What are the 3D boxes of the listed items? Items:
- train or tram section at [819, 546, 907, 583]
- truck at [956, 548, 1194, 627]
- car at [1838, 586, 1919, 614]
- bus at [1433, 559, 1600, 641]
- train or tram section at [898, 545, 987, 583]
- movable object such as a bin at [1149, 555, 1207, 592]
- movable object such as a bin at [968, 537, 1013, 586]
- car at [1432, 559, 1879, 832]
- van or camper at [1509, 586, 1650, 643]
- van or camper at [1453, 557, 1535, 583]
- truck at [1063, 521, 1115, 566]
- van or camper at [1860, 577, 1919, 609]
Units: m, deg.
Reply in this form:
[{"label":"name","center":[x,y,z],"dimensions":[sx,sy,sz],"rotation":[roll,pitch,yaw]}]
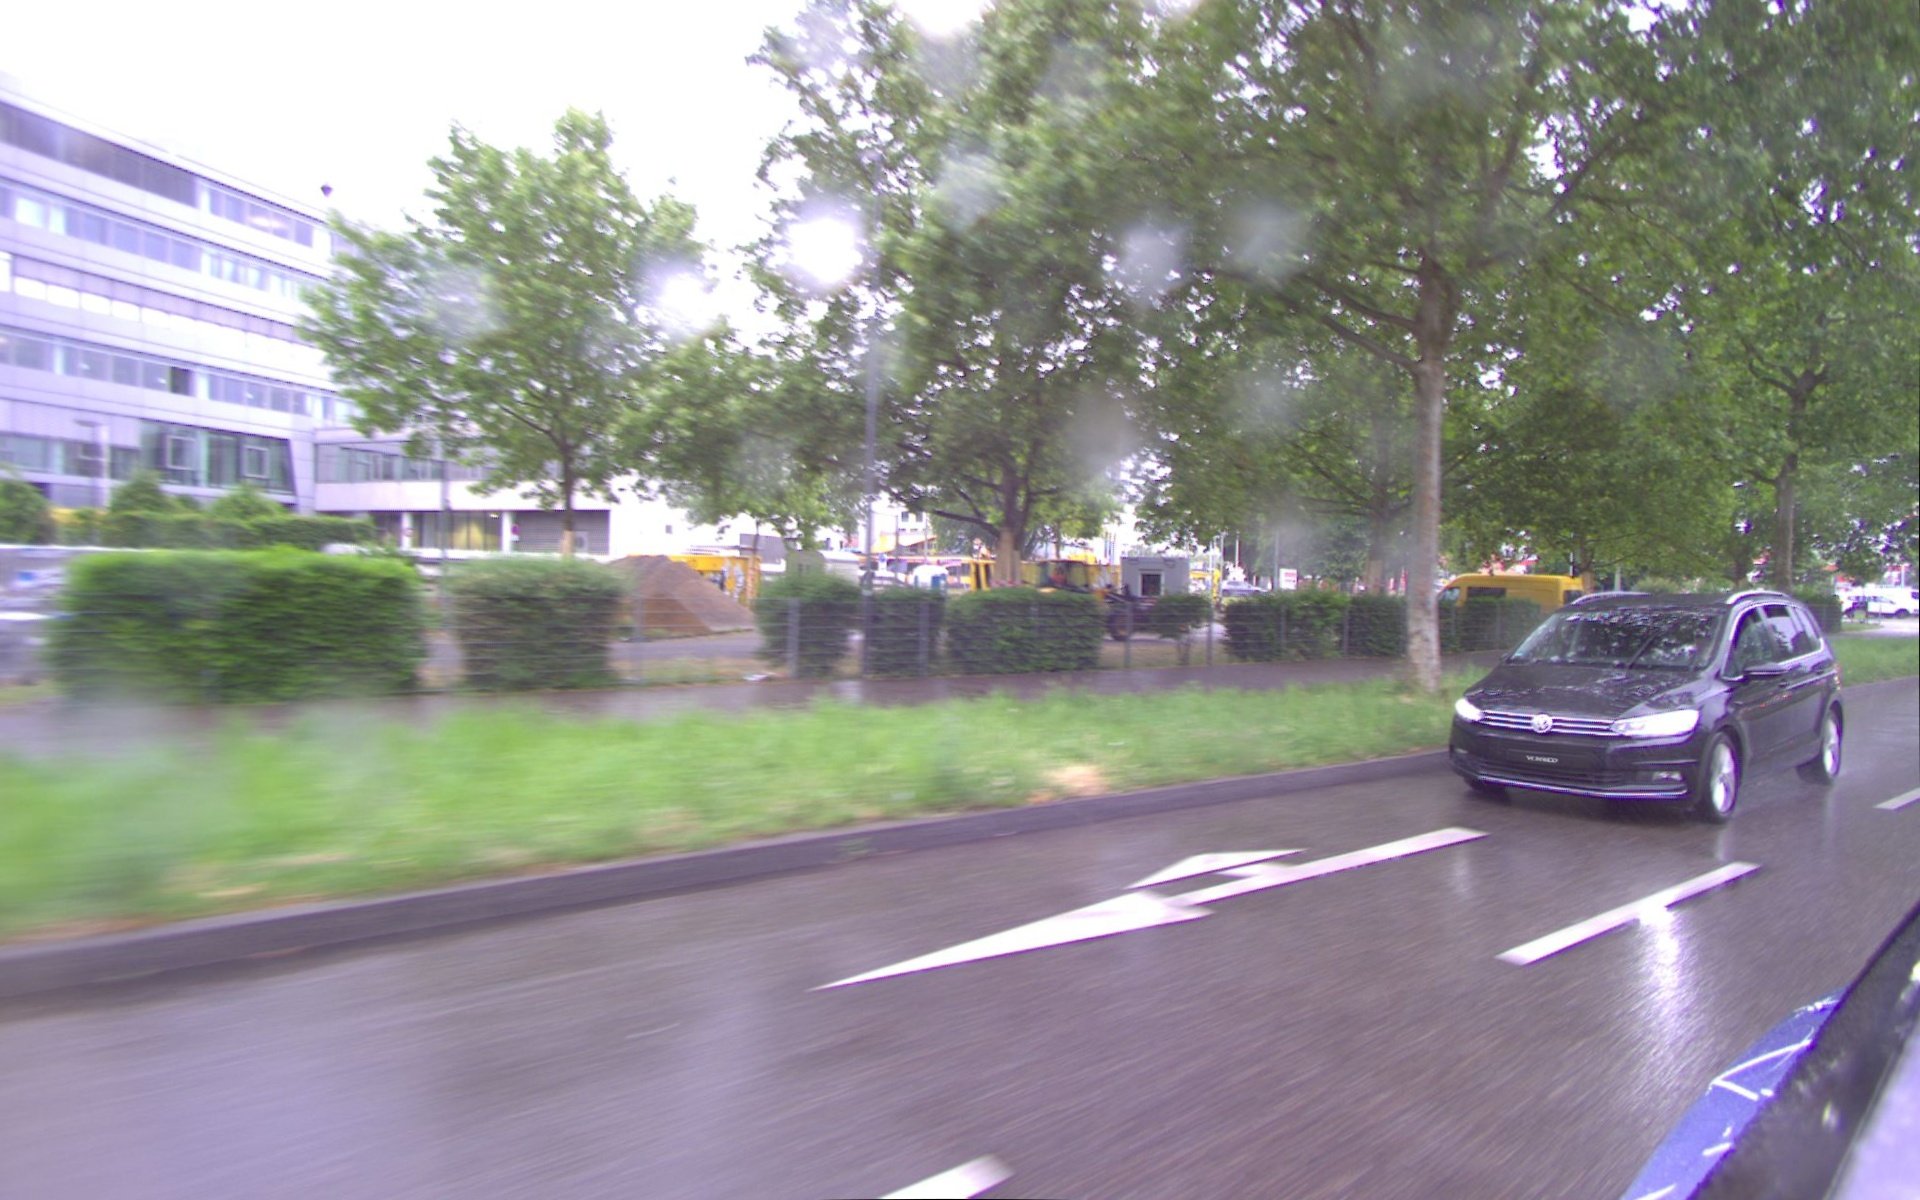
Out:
[{"label":"train or tram section","center":[-9.655,-3.477,100.295],"dimensions":[8.413,3.564,2.388],"rotation":[0,1,17]},{"label":"truck","center":[4.759,-0.510,41.930],"dimensions":[9.379,3.070,3.063],"rotation":[0,1,20]},{"label":"car","center":[62.211,-0.027,68.014],"dimensions":[4.400,1.693,1.859],"rotation":[2,2,17]},{"label":"bus","center":[19.565,-0.046,35.790],"dimensions":[1.961,2.680,4.810],"rotation":[0,1,-34]},{"label":"train or tram section","center":[-1.682,-3.439,97.842],"dimensions":[8.255,3.564,2.388],"rotation":[0,1,17]},{"label":"movable object such as a bin","center":[14.326,-1.749,66.449],"dimensions":[3.257,2.385,1.991],"rotation":[2,2,32]},{"label":"movable object such as a bin","center":[2.340,-2.933,77.965],"dimensions":[3.256,3.670,3.614],"rotation":[1,1,0]},{"label":"car","center":[5.925,0.599,8.467],"dimensions":[4.112,1.748,1.862],"rotation":[0,0,-37]},{"label":"van or camper","center":[22.243,0.486,36.465],"dimensions":[1.770,1.931,3.996],"rotation":[1,0,-39]},{"label":"van or camper","center":[68.324,-3.867,129.655],"dimensions":[8.865,3.196,2.969],"rotation":[0,1,20]},{"label":"truck","center":[10.828,-4.580,83.908],"dimensions":[2.464,3.387,9.413],"rotation":[0,1,19]},{"label":"van or camper","center":[66.050,-0.451,70.267],"dimensions":[4.841,2.114,1.859],"rotation":[2,2,17]}]
